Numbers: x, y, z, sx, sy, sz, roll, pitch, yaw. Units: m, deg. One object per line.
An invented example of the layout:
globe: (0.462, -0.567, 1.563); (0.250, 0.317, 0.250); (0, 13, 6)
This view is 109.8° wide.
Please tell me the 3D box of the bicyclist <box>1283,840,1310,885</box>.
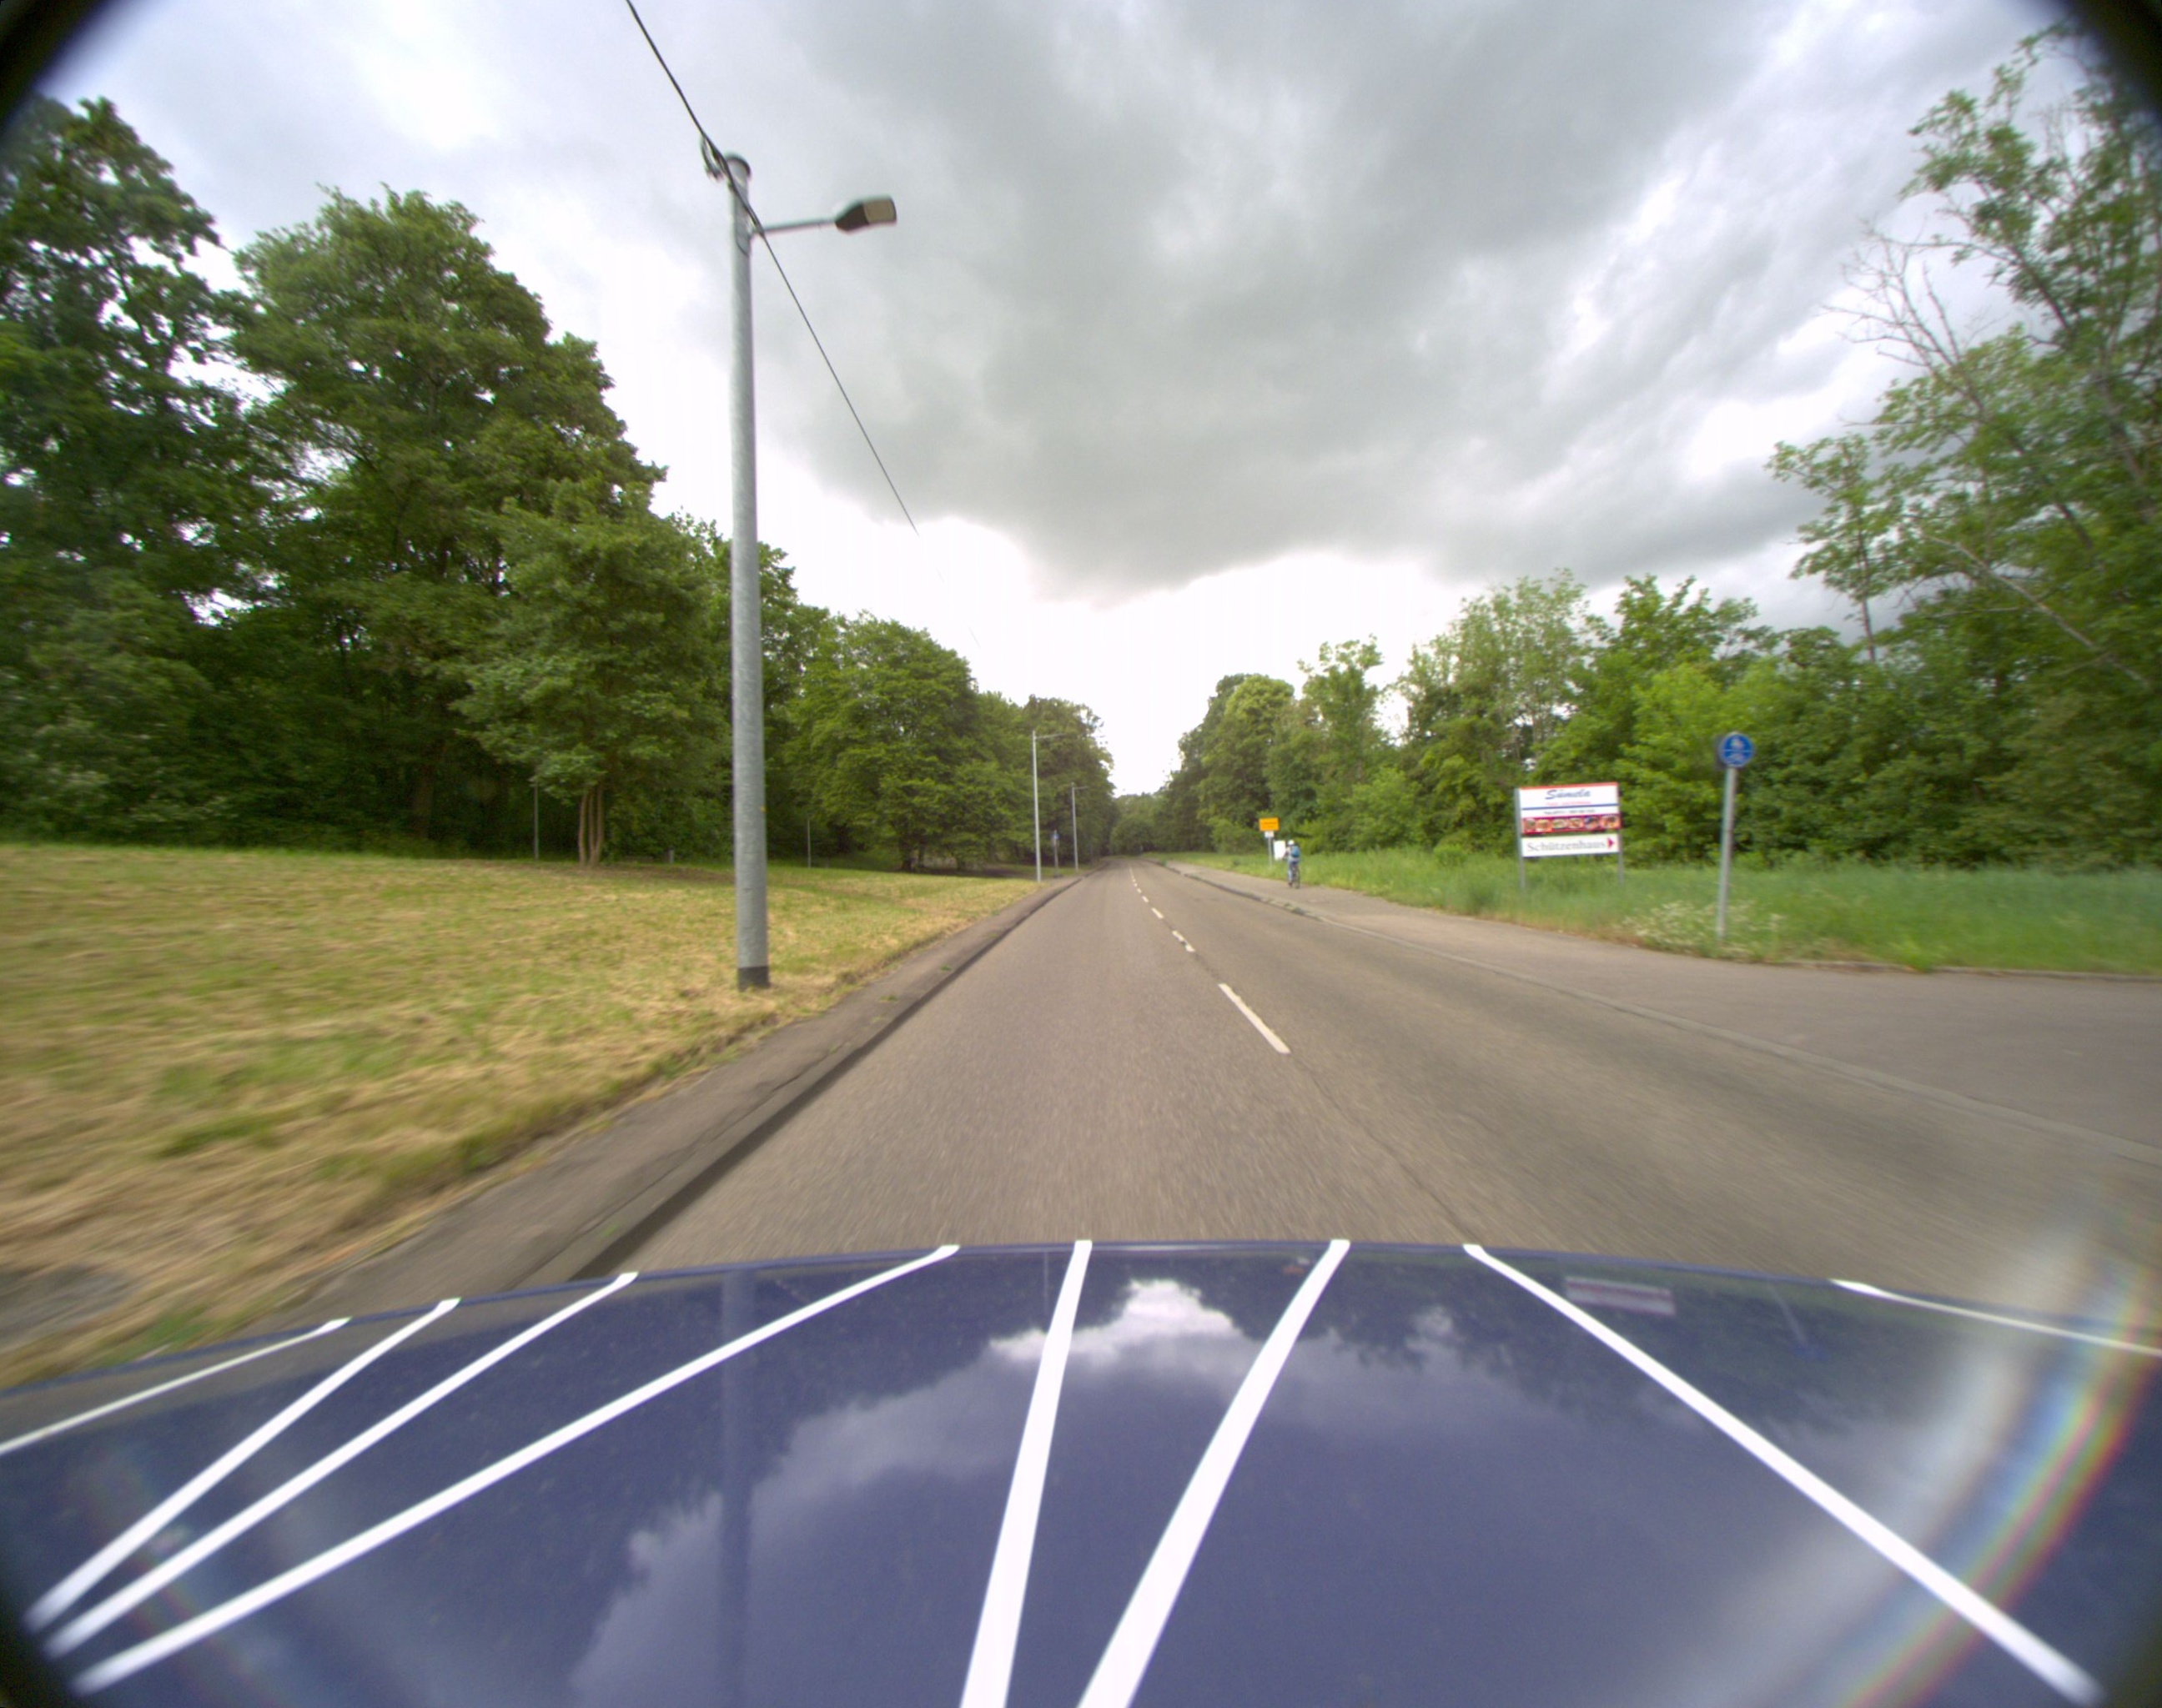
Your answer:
bicyclist: (7.525, 0.297, 26.584); (0.667, 1.511, 1.271); (-2, 1, 6)

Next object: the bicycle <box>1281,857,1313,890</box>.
bicycle: (7.538, 0.672, 26.590); (0.667, 1.068, 2.146); (-2, 0, 6)
